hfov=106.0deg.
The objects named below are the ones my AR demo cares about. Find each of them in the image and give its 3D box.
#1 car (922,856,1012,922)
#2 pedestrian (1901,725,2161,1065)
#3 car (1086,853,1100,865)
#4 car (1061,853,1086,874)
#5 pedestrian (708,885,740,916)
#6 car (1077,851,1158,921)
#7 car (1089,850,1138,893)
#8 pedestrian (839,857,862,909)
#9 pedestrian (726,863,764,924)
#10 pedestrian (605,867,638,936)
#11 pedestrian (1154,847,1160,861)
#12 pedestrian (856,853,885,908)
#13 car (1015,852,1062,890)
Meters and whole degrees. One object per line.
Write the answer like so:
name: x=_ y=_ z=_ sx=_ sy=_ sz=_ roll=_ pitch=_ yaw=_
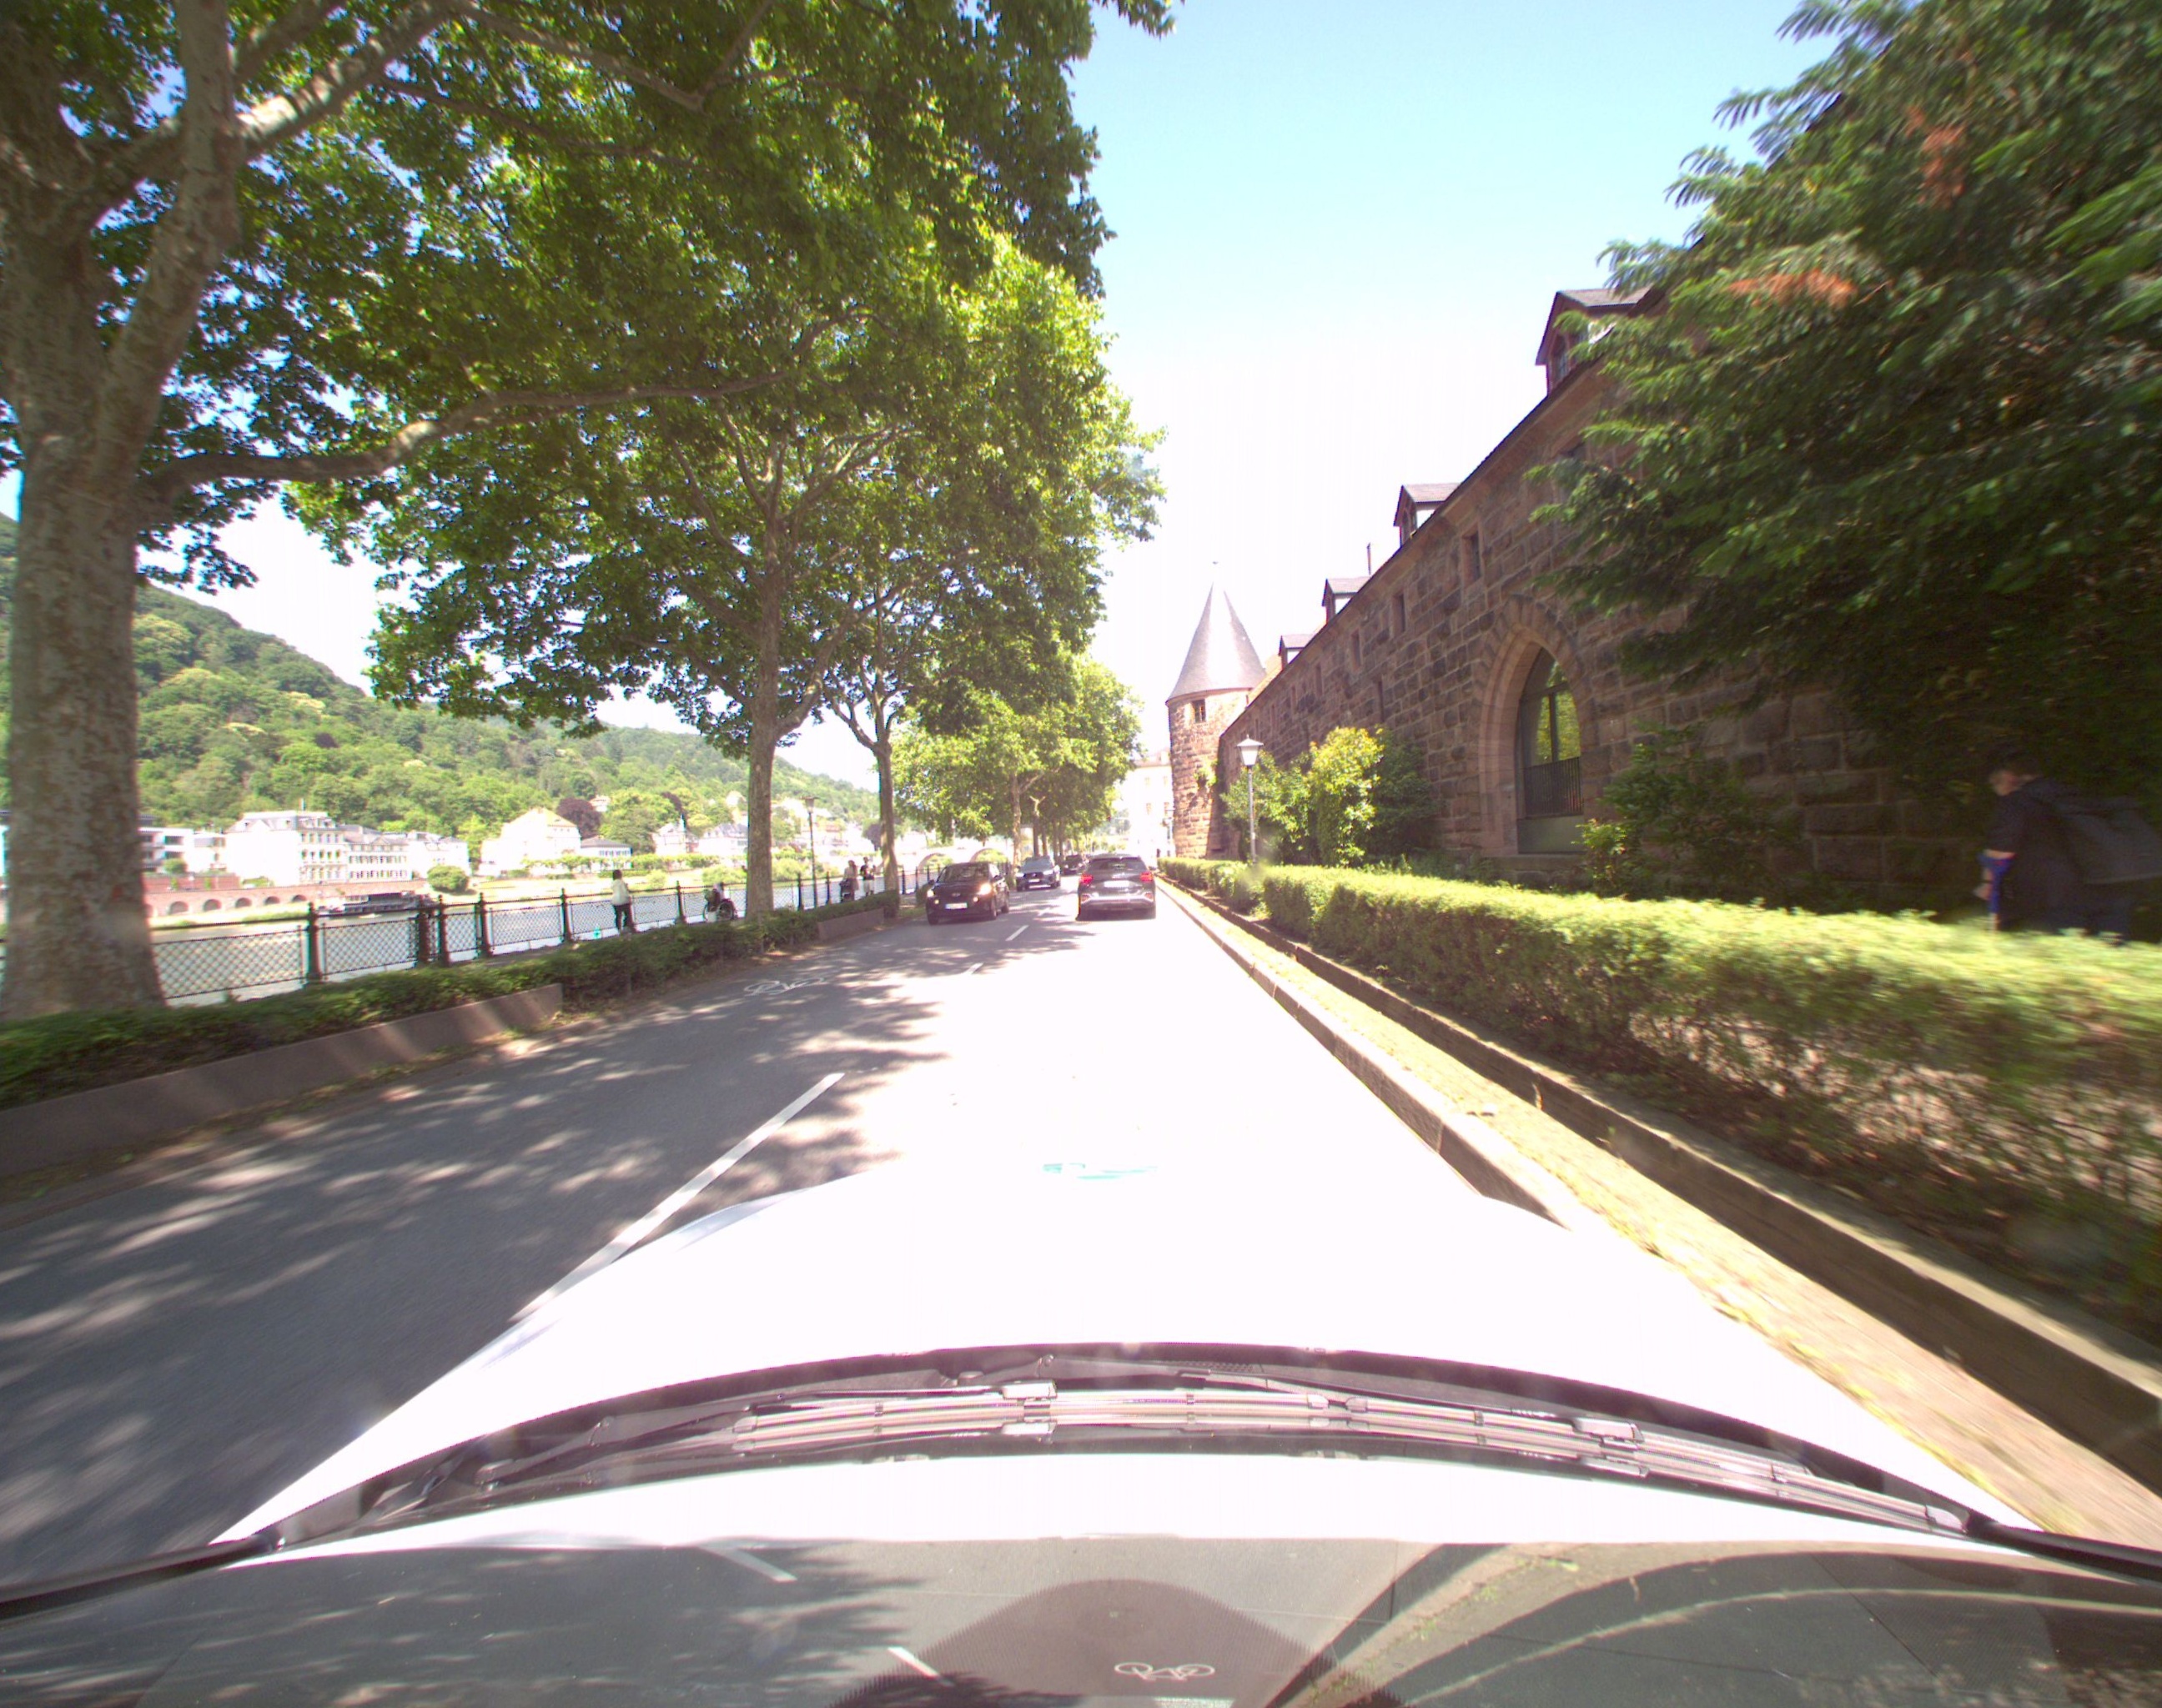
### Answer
car: x=-2.876 y=0.837 z=21.235 sx=1.643 sy=1.469 sz=3.781 roll=-3 pitch=0 yaw=2
pedestrian: x=5.121 y=0.203 z=4.354 sx=0.695 sy=1.652 sz=0.706 roll=-3 pitch=0 yaw=5
car: x=1.698 y=0.704 z=114.960 sx=1.607 sy=1.523 sz=3.480 roll=-3 pitch=0 yaw=4
car: x=-0.567 y=0.751 z=68.152 sx=1.756 sy=1.647 sz=4.093 roll=-3 pitch=0 yaw=3
pedestrian: x=-10.665 y=1.383 z=24.359 sx=0.605 sy=0.884 sz=0.706 roll=-3 pitch=0 yaw=2
car: x=0.854 y=0.704 z=19.605 sx=1.742 sy=1.494 sz=3.630 roll=-1 pitch=0 yaw=1
car: x=1.355 y=0.662 z=32.756 sx=1.793 sy=1.562 sz=3.719 roll=-3 pitch=0 yaw=3
pedestrian: x=-8.117 y=1.015 z=28.682 sx=0.514 sy=1.768 sz=0.592 roll=-4 pitch=0 yaw=3
pedestrian: x=-9.739 y=1.133 z=23.621 sx=0.690 sy=1.717 sz=0.874 roll=-1 pitch=-1 yaw=1
pedestrian: x=-11.648 y=1.194 z=20.660 sx=0.582 sy=1.710 sz=0.403 roll=-1 pitch=-1 yaw=0
pedestrian: x=8.866 y=-0.019 z=95.132 sx=0.554 sy=1.633 sz=0.661 roll=-1 pitch=-1 yaw=3
pedestrian: x=-7.490 y=0.934 z=28.986 sx=0.638 sy=1.870 sz=0.806 roll=-4 pitch=0 yaw=3
car: x=-2.029 y=0.813 z=40.251 sx=1.870 sy=1.698 sz=4.260 roll=-3 pitch=0 yaw=2
